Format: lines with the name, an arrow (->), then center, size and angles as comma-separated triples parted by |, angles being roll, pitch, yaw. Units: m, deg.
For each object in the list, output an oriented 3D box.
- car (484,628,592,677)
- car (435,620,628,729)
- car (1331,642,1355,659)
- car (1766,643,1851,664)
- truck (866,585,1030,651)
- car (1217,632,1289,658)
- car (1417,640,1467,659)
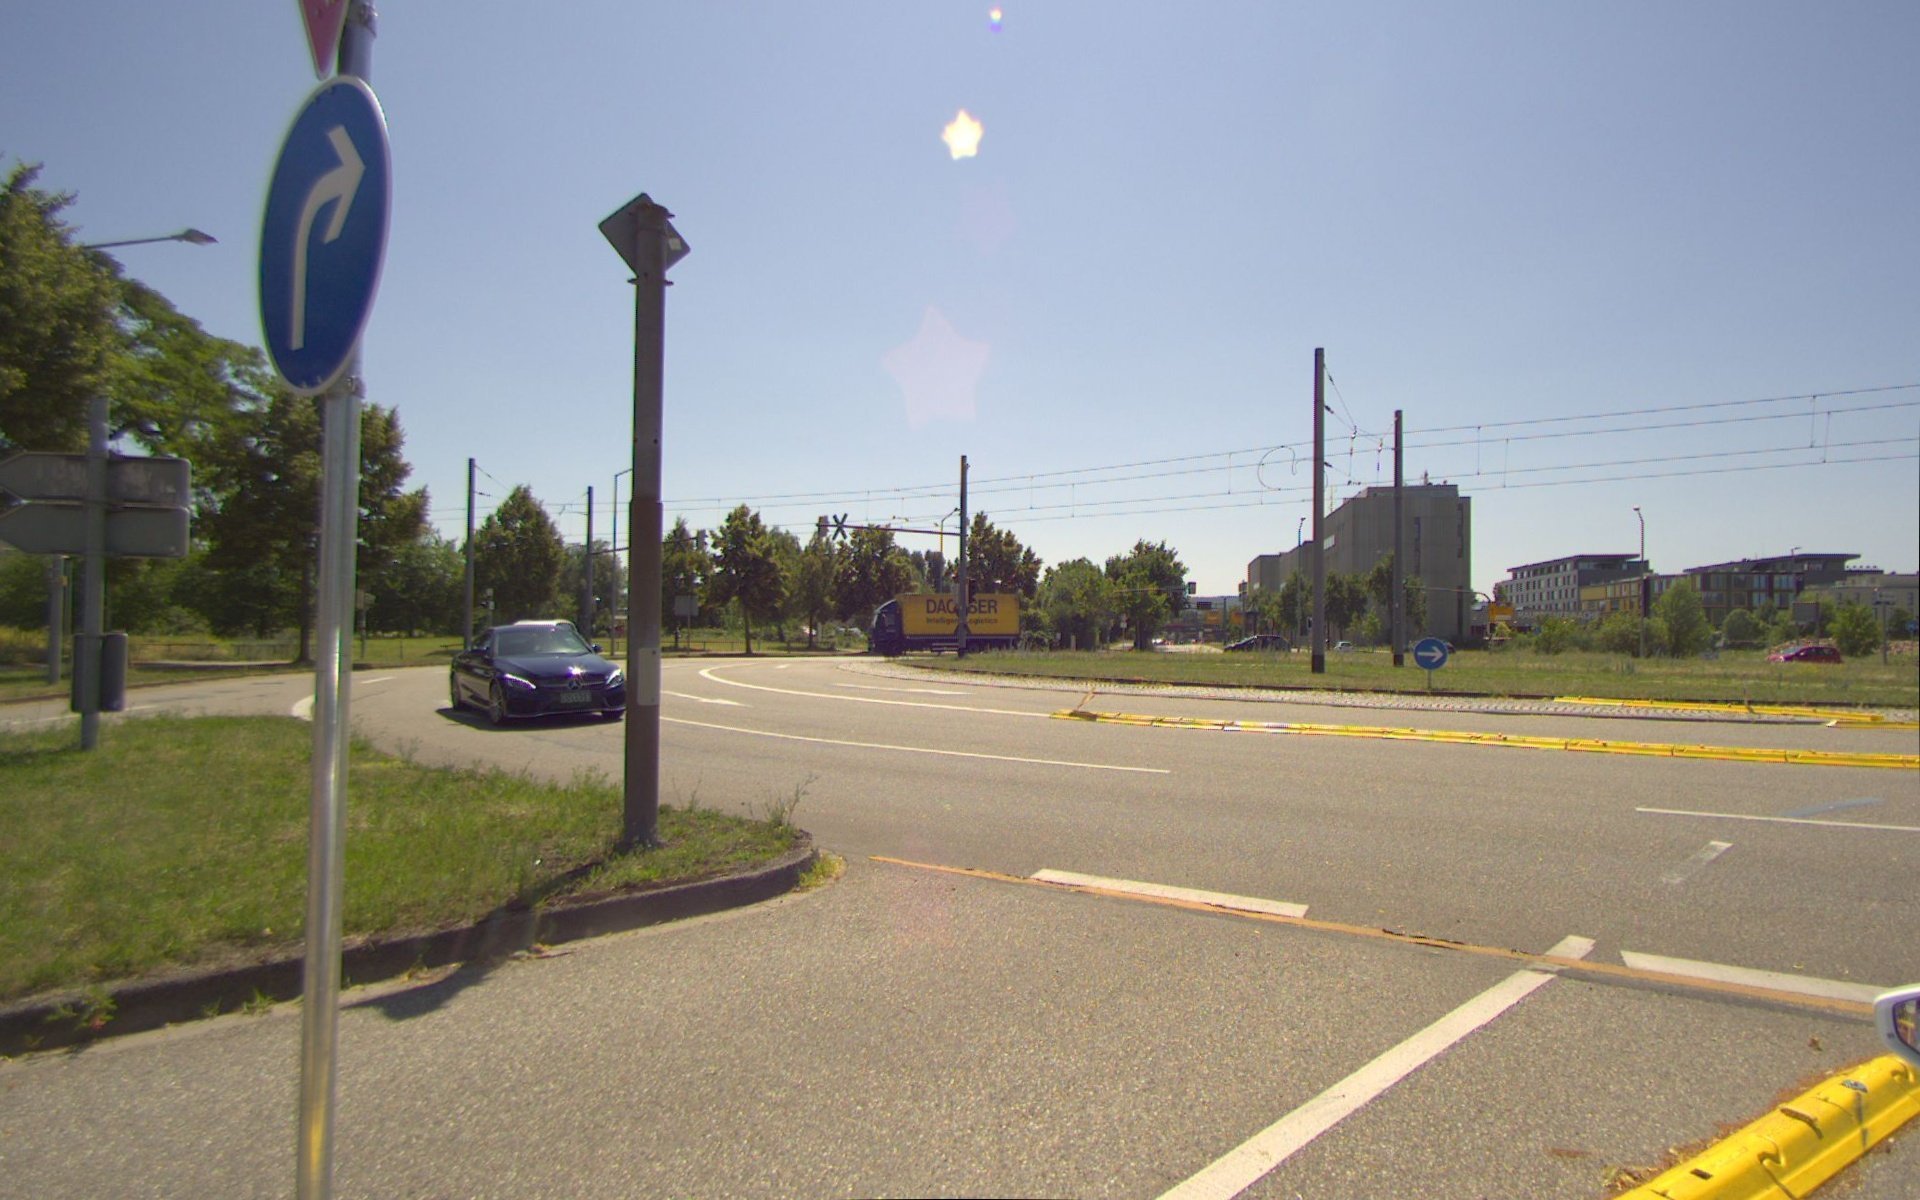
car -> -13.749, 1.664, 33.051 | 1.792, 1.473, 5.020 | 1, -2, -5
car -> -6.939, 1.067, 15.951 | 1.839, 1.455, 4.907 | 2, -2, -35
car -> 41.558, 5.446, 109.017 | 1.960, 1.639, 4.002 | 2, -1, 16
car -> 48.357, 3.057, 57.302 | 3.449, 1.104, 1.499 | 0, -1, 7
truck -> -0.715, 1.131, 59.898 | 9.457, 3.707, 2.699 | 1, -2, -16
car -> 17.953, 2.754, 61.707 | 3.968, 1.480, 1.730 | 1, -2, 2
car -> 33.119, 3.403, 69.060 | 1.526, 1.208, 3.474 | 1, -2, -6
